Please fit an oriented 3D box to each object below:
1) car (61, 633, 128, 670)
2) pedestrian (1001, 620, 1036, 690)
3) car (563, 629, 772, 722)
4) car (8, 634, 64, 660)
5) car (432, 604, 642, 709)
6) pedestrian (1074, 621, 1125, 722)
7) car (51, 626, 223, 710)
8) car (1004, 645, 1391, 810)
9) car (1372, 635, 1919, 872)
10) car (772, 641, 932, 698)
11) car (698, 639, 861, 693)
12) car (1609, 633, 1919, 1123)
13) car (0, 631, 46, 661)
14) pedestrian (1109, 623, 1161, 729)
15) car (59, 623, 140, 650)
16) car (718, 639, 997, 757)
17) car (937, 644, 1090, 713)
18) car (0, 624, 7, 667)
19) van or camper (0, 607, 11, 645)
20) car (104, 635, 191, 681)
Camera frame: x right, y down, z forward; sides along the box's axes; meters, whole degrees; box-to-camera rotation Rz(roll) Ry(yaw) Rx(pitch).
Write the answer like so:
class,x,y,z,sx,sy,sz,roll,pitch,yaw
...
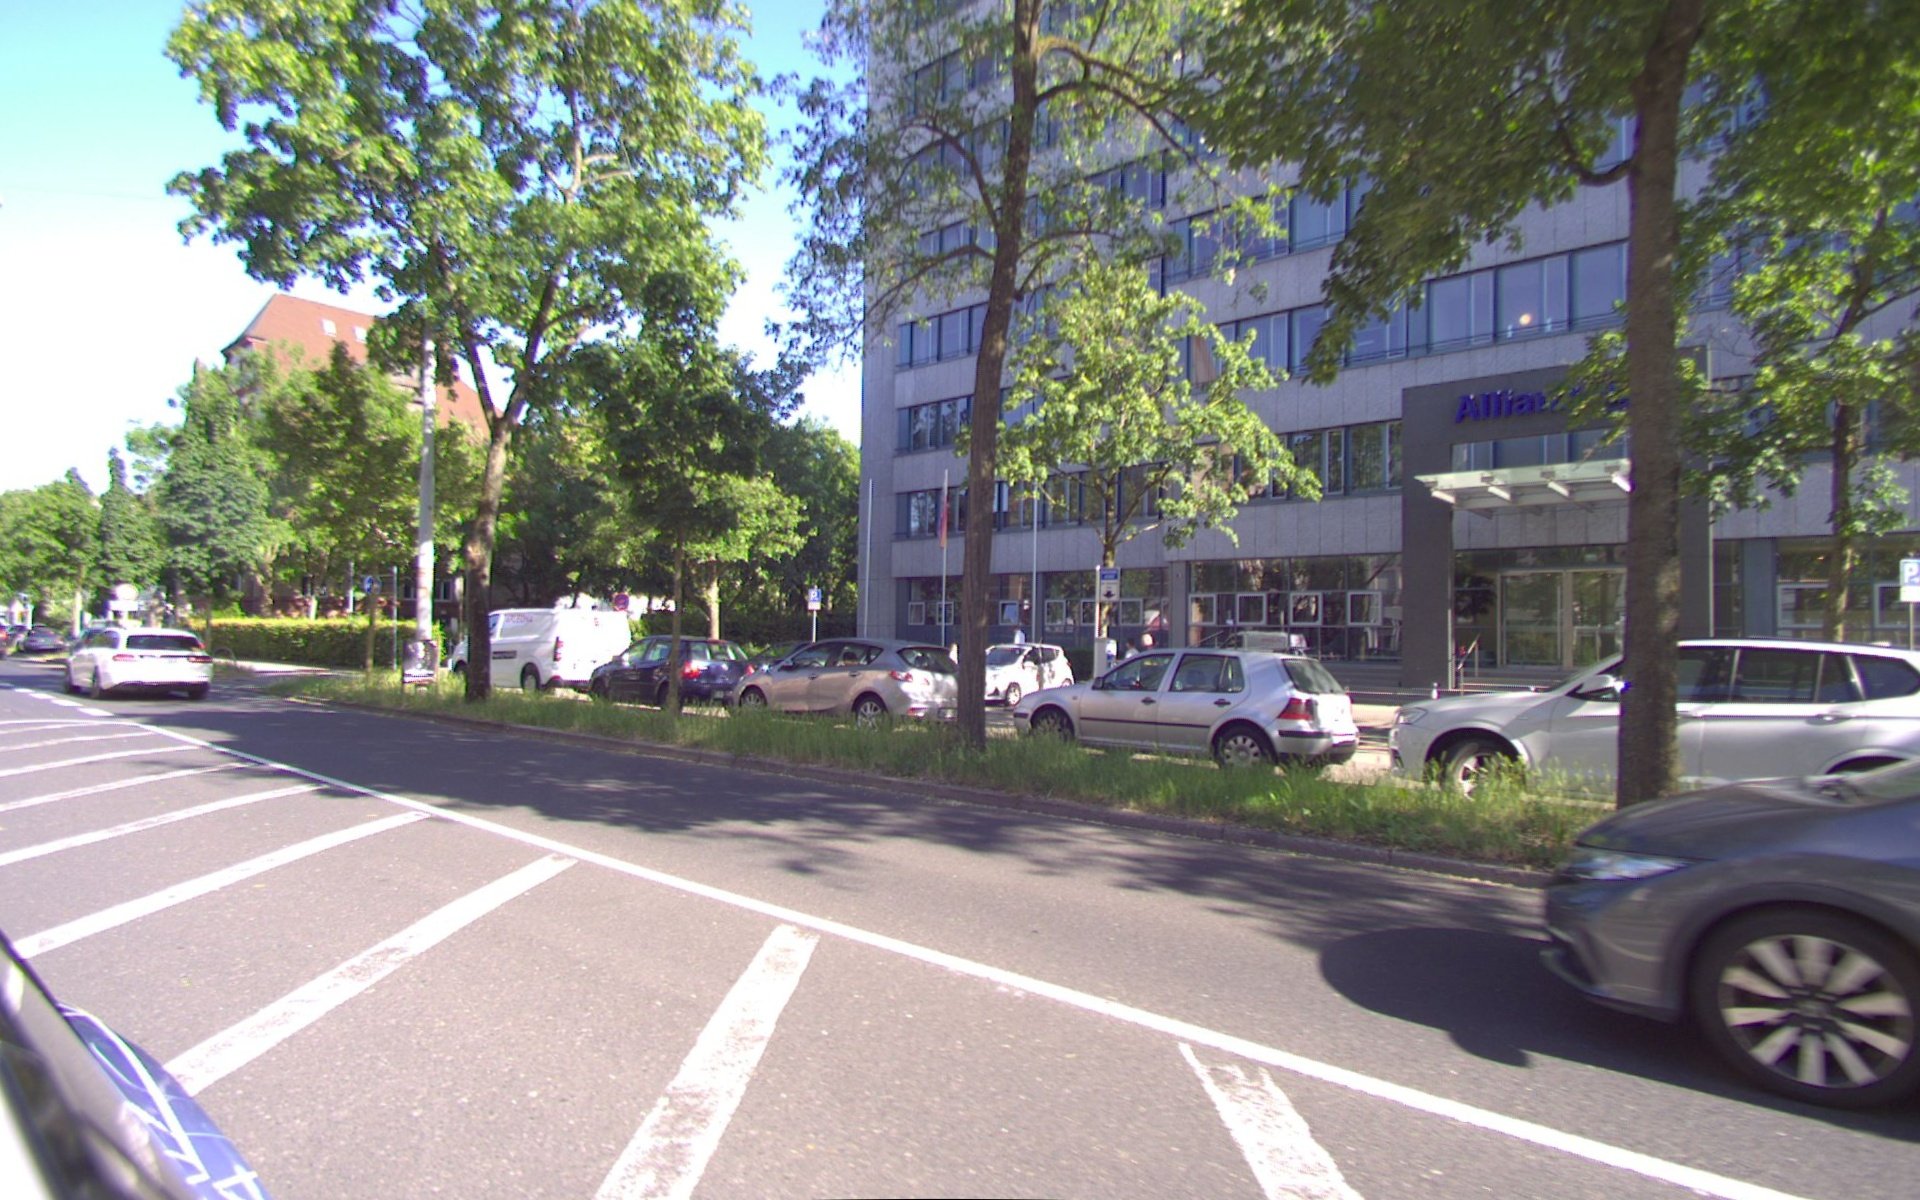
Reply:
class,x,y,z,sx,sy,sz,roll,pitch,yaw
car,-35.804,2.077,41.838,4.191,1.394,1.670,-2,-1,43
pedestrian,1.815,1.697,31.589,0.792,2.109,0.763,-1,-1,42
car,-5.541,1.309,18.905,4.318,1.534,1.762,-2,-2,42
car,-47.696,2.422,52.213,4.013,1.265,1.661,-1,-2,41
car,-9.542,1.243,22.626,5.189,2.092,1.962,-1,-5,38
pedestrian,3.020,1.522,21.934,0.779,2.109,0.775,1,-1,-38
car,-17.549,1.398,21.507,4.710,1.580,1.837,-1,-5,39
car,2.659,1.331,11.907,4.062,1.534,1.836,-2,-2,42
car,6.313,1.168,8.957,4.654,1.697,1.840,-1,-2,35
car,-3.018,1.921,29.054,1.935,1.453,4.568,-1,-2,39
car,-5.436,1.948,30.952,2.010,1.524,4.616,-2,-3,45
car,4.511,0.862,2.866,4.314,1.451,1.837,-1,-5,40
car,-53.452,2.559,57.091,4.696,1.505,1.839,-1,0,36
pedestrian,3.573,1.529,20.665,0.760,2.109,0.794,0,-1,-17
car,-61.297,2.570,72.154,1.976,1.683,4.135,-2,0,7
car,-1.676,1.397,15.675,4.315,1.534,1.837,-1,-2,40
car,1.449,1.930,25.910,1.859,1.534,4.264,-1,-2,37
car,-43.736,1.970,44.631,4.605,1.839,1.837,-1,-5,40
van or camper,-73.236,1.938,75.991,6.084,2.760,2.193,-2,-3,41
car,-27.820,1.930,34.618,4.071,1.470,1.693,-2,-2,42
